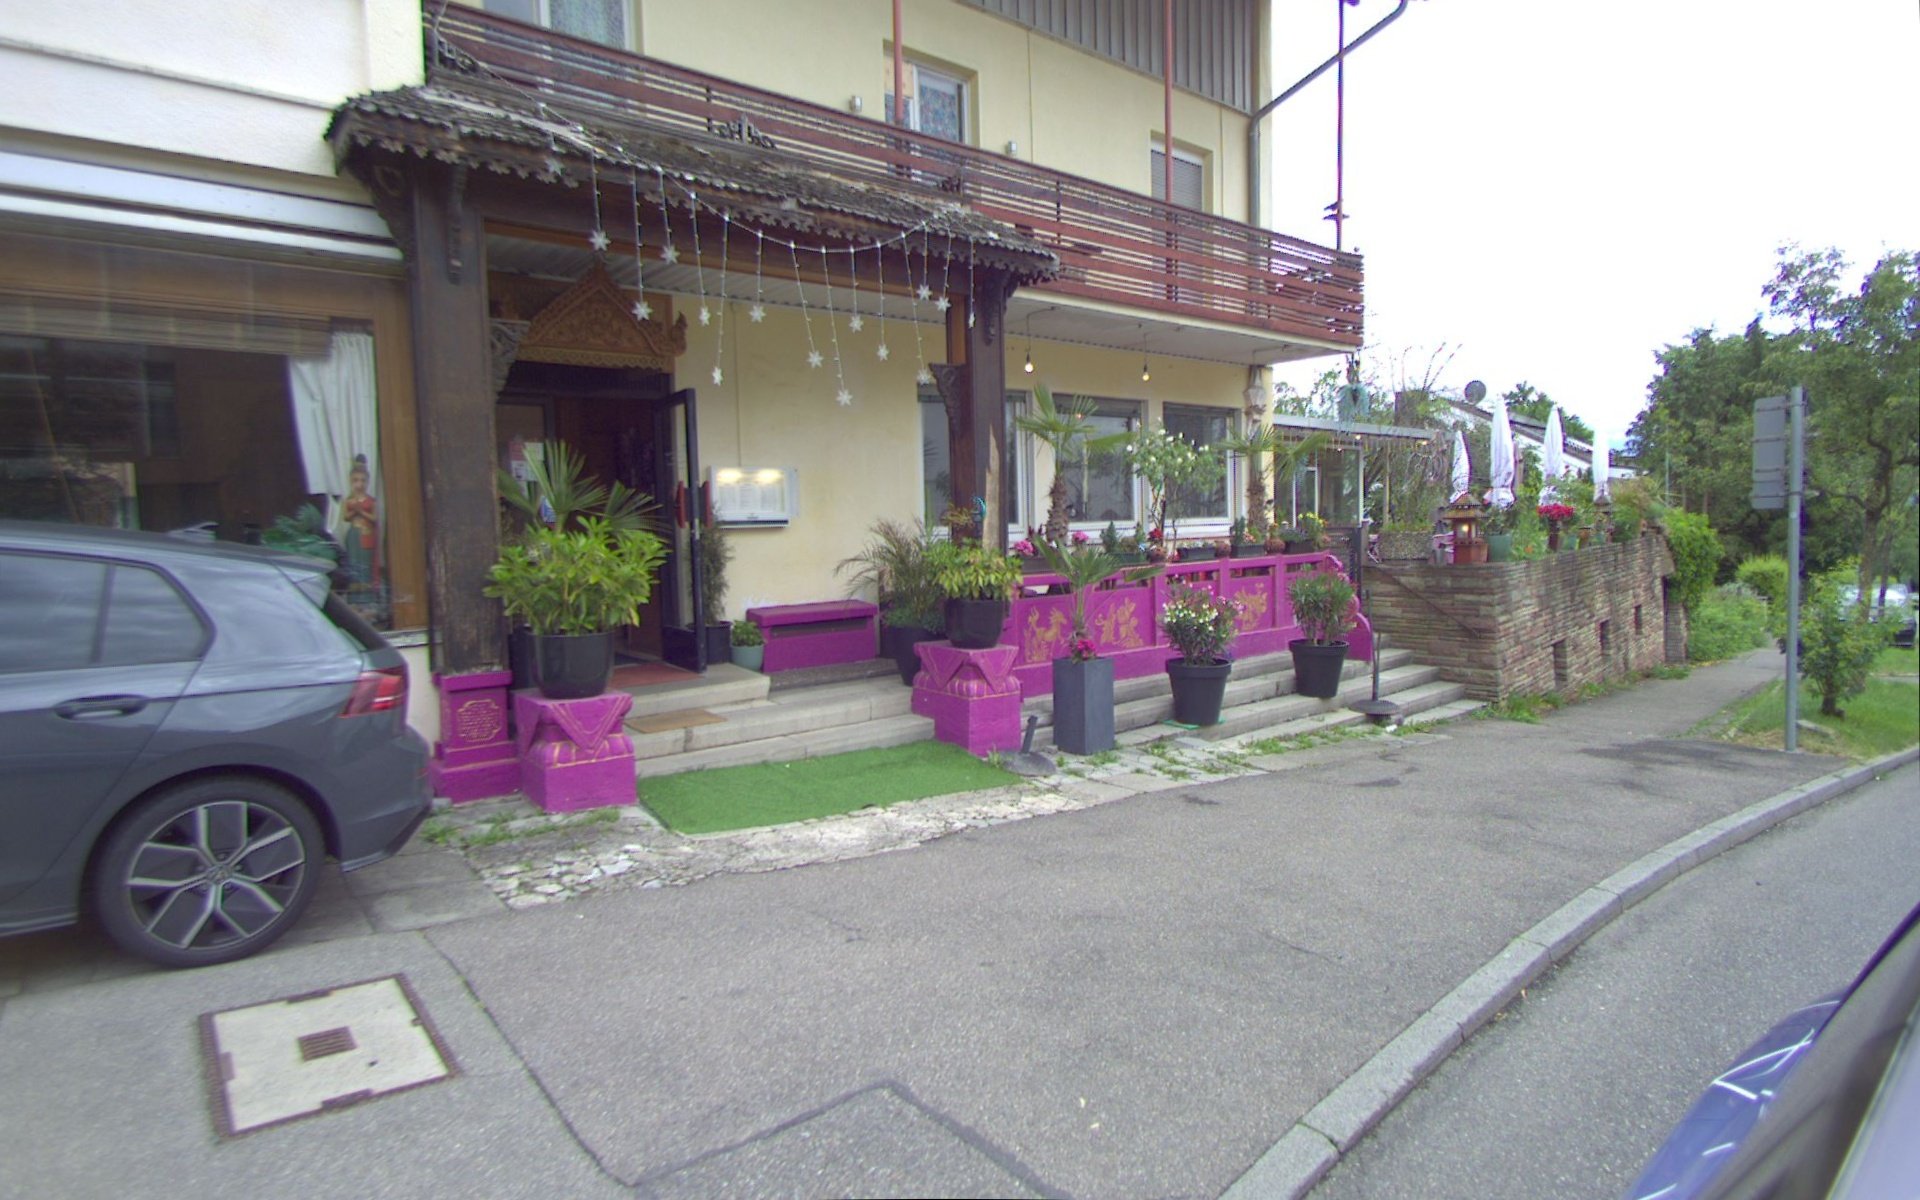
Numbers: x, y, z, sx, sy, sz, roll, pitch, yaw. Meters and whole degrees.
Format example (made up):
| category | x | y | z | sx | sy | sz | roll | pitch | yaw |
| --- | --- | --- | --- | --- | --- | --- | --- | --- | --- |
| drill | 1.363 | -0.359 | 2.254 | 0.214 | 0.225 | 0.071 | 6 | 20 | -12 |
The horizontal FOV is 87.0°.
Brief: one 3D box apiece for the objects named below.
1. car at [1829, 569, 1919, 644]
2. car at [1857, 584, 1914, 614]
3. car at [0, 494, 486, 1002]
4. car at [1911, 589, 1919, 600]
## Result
| category | x | y | z | sx | sy | sz | roll | pitch | yaw |
| --- | --- | --- | --- | --- | --- | --- | --- | --- | --- |
| car | 25.524 | 0.112 | 28.072 | 1.936 | 1.860 | 5.139 | 3 | 3 | 42 |
| car | 54.172 | -0.094 | 59.323 | 1.997 | 1.628 | 4.694 | 4 | 3 | 38 |
| car | -4.019 | 0.385 | 3.084 | 4.313 | 1.490 | 1.851 | -1 | 5 | -43 |
| car | 116.501 | -0.688 | 122.445 | 3.935 | 1.243 | 1.995 | -1 | 3 | -44 |
